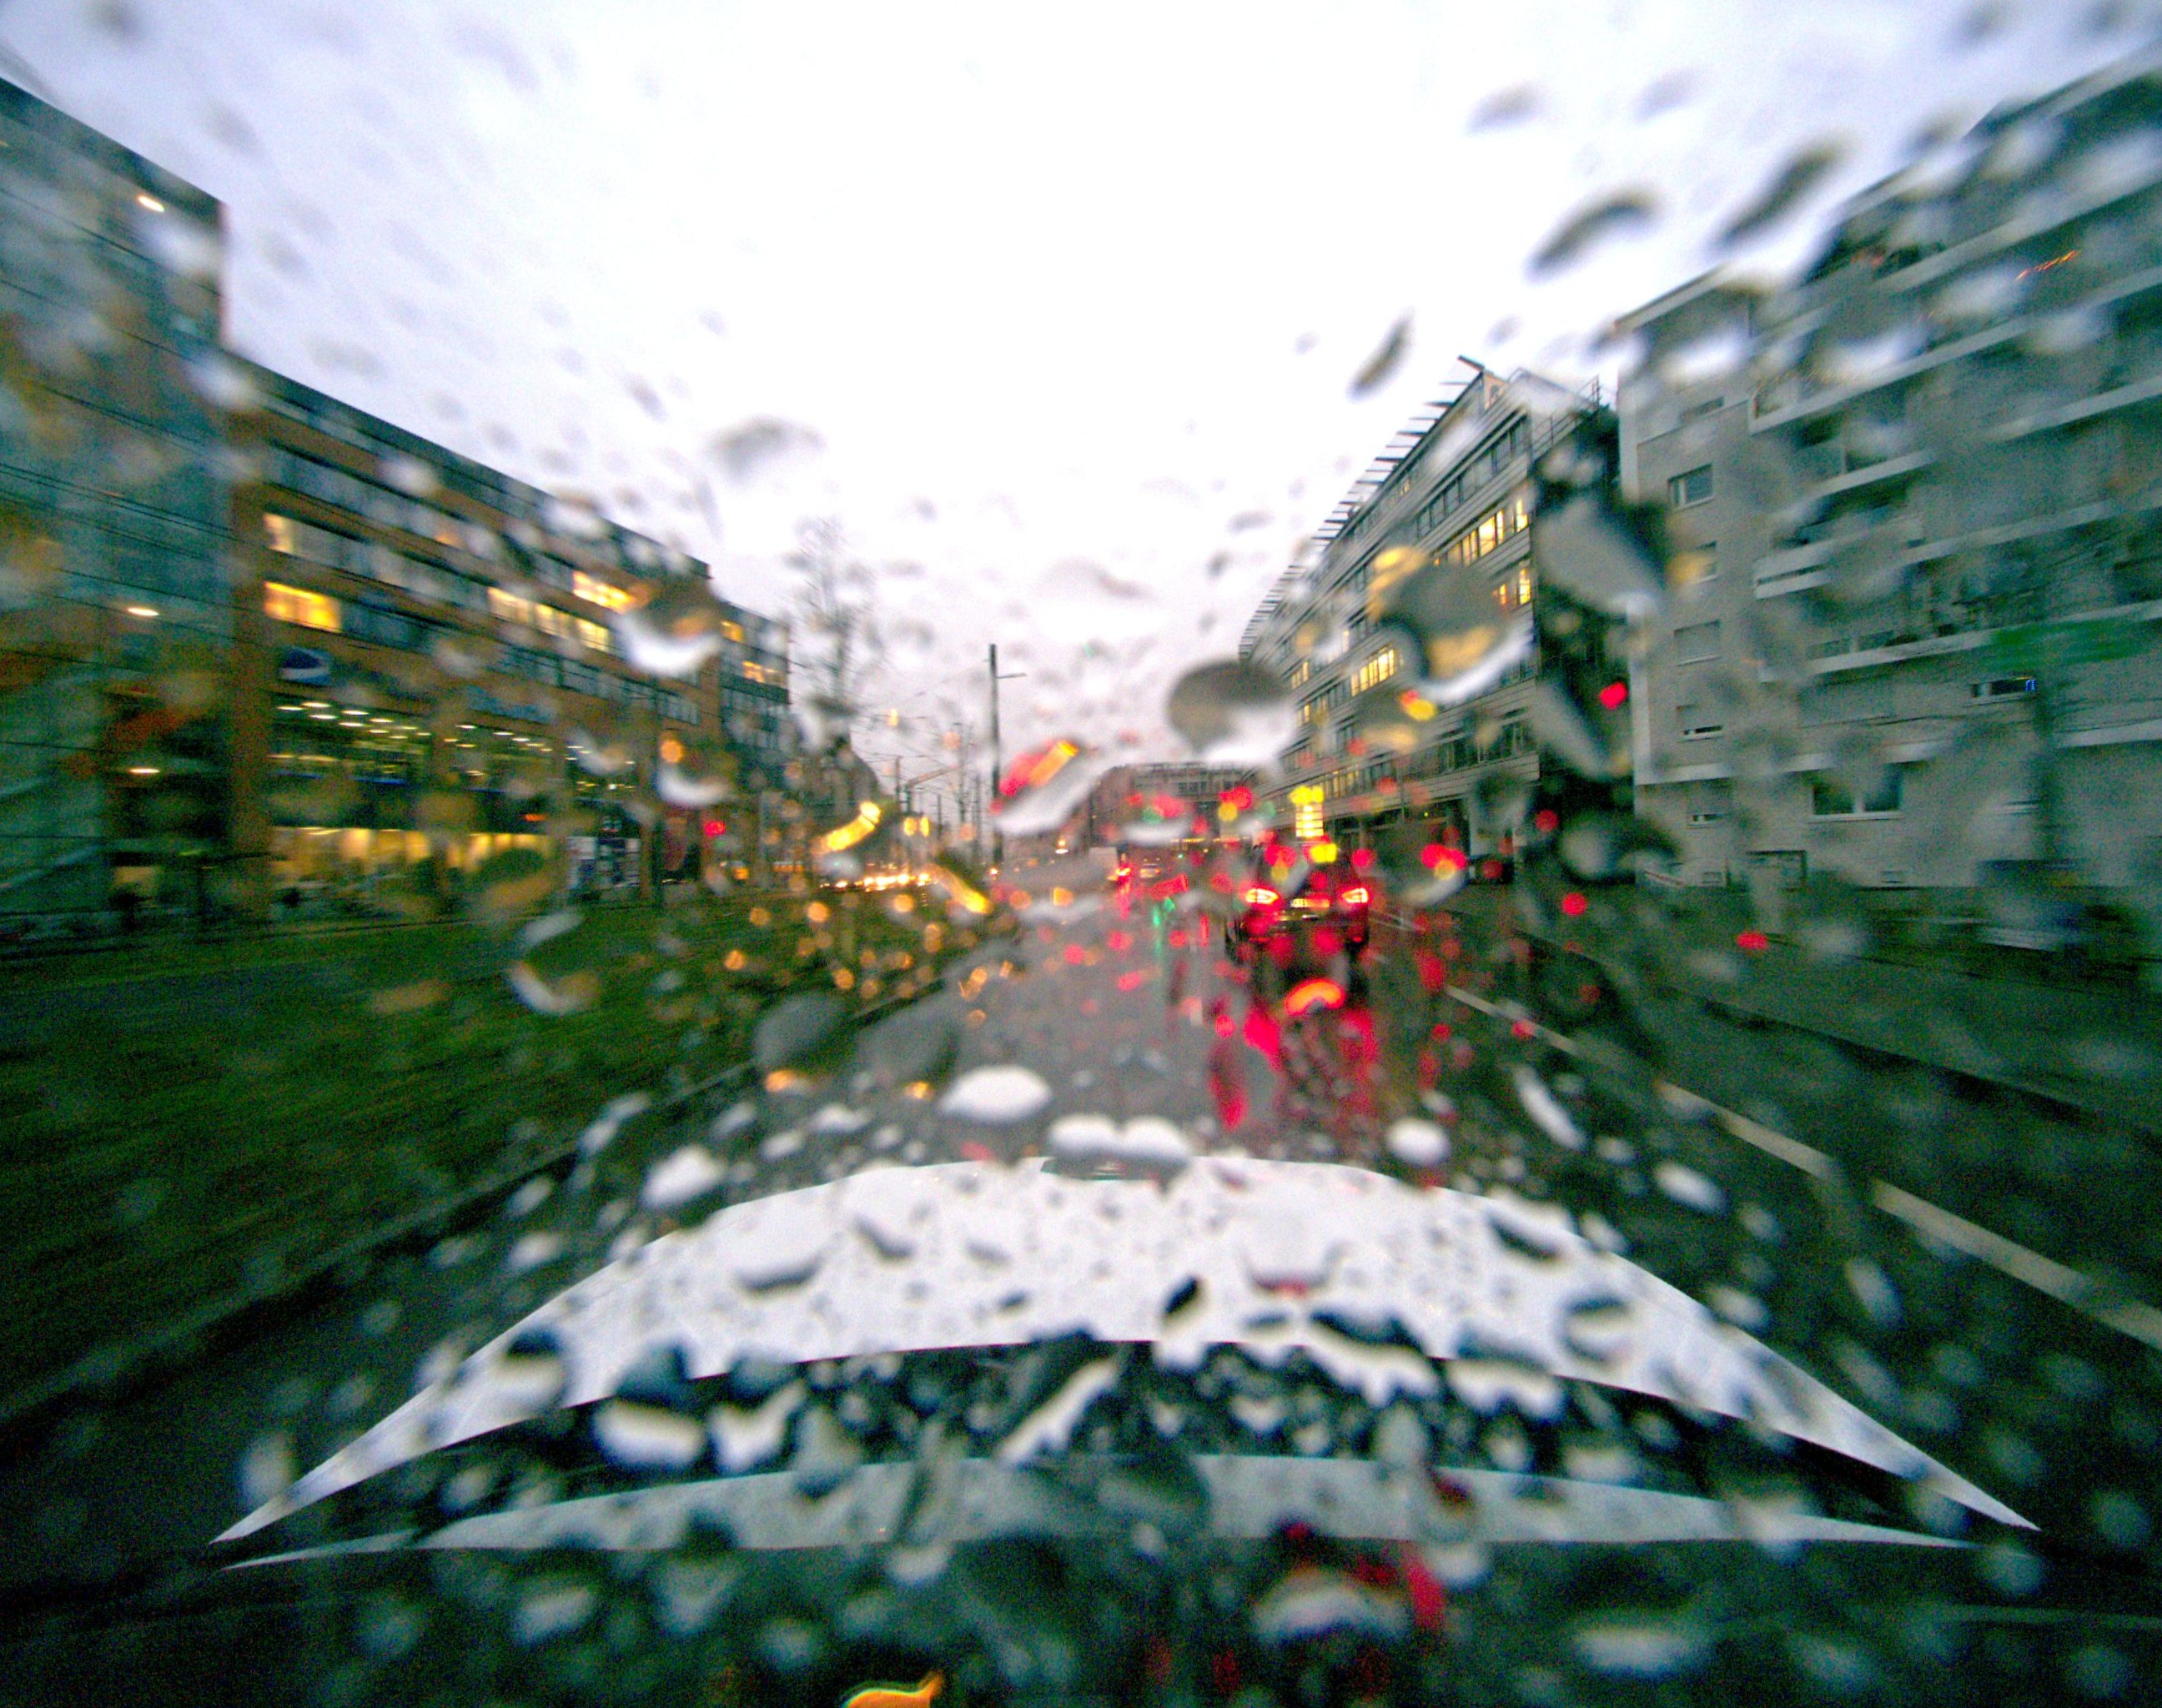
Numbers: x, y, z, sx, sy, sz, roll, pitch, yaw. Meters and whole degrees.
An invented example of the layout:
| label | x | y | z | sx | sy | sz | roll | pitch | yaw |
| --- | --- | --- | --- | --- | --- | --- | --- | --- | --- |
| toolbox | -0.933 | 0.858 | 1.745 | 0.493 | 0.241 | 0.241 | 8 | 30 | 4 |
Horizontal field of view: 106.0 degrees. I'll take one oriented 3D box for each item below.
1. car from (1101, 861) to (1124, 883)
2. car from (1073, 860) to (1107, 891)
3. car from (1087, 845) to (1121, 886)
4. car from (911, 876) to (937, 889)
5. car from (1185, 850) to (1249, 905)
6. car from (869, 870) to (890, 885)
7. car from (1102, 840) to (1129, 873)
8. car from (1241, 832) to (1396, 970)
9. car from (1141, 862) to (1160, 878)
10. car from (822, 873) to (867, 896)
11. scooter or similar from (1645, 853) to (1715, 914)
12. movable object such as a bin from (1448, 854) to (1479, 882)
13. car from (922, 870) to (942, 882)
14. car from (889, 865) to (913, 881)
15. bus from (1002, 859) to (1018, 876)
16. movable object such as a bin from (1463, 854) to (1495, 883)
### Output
| label | x | y | z | sx | sy | sz | roll | pitch | yaw |
| --- | --- | --- | --- | --- | --- | --- | --- | --- | --- |
| car | 2.248 | 1.311 | 58.632 | 1.512 | 1.520 | 3.470 | -2 | -2 | 1 |
| car | 0.519 | 1.122 | 43.405 | 1.632 | 1.496 | 3.688 | -2 | 0 | 3 |
| car | 1.428 | 0.723 | 51.959 | 1.987 | 2.427 | 5.973 | -2 | -1 | 0 |
| car | -17.332 | 3.135 | 89.978 | 1.721 | 1.393 | 4.204 | -2 | -1 | 5 |
| car | 4.837 | 0.809 | 29.444 | 1.835 | 1.806 | 4.492 | -2 | -1 | 4 |
| car | -20.551 | 2.406 | 83.134 | 1.503 | 1.402 | 3.543 | -2 | -1 | -5 |
| car | 3.175 | 0.294 | 75.496 | 2.346 | 2.827 | 6.361 | -1 | -1 | 2 |
| car | 3.519 | 0.649 | 12.778 | 1.665 | 1.779 | 4.008 | -2 | -1 | 7 |
| car | 6.040 | 1.410 | 70.723 | 1.504 | 1.306 | 3.045 | -2 | -1 | 6 |
| car | -16.176 | 2.072 | 55.921 | 1.808 | 1.442 | 3.957 | -2 | -1 | 1 |
| scooter or similar | 12.798 | 0.629 | 17.444 | 0.662 | 1.227 | 1.563 | -2 | -2 | 17 |
| movable object such as a bin | 18.903 | 0.705 | 40.307 | 0.843 | 1.294 | 1.166 | -3 | -1 | -6 |
| car | -18.640 | 2.731 | 102.099 | 1.990 | 1.450 | 4.308 | -1 | -1 | -4 |
| car | -16.076 | 1.742 | 72.823 | 1.503 | 1.373 | 3.646 | -1 | -2 | -5 |
| bus | -14.770 | 2.715 | 168.049 | 2.822 | 3.373 | 7.976 | -1 | -1 | -8 |
| movable object such as a bin | 19.057 | 0.686 | 38.996 | 0.843 | 1.294 | 1.166 | -3 | -1 | -6 |
